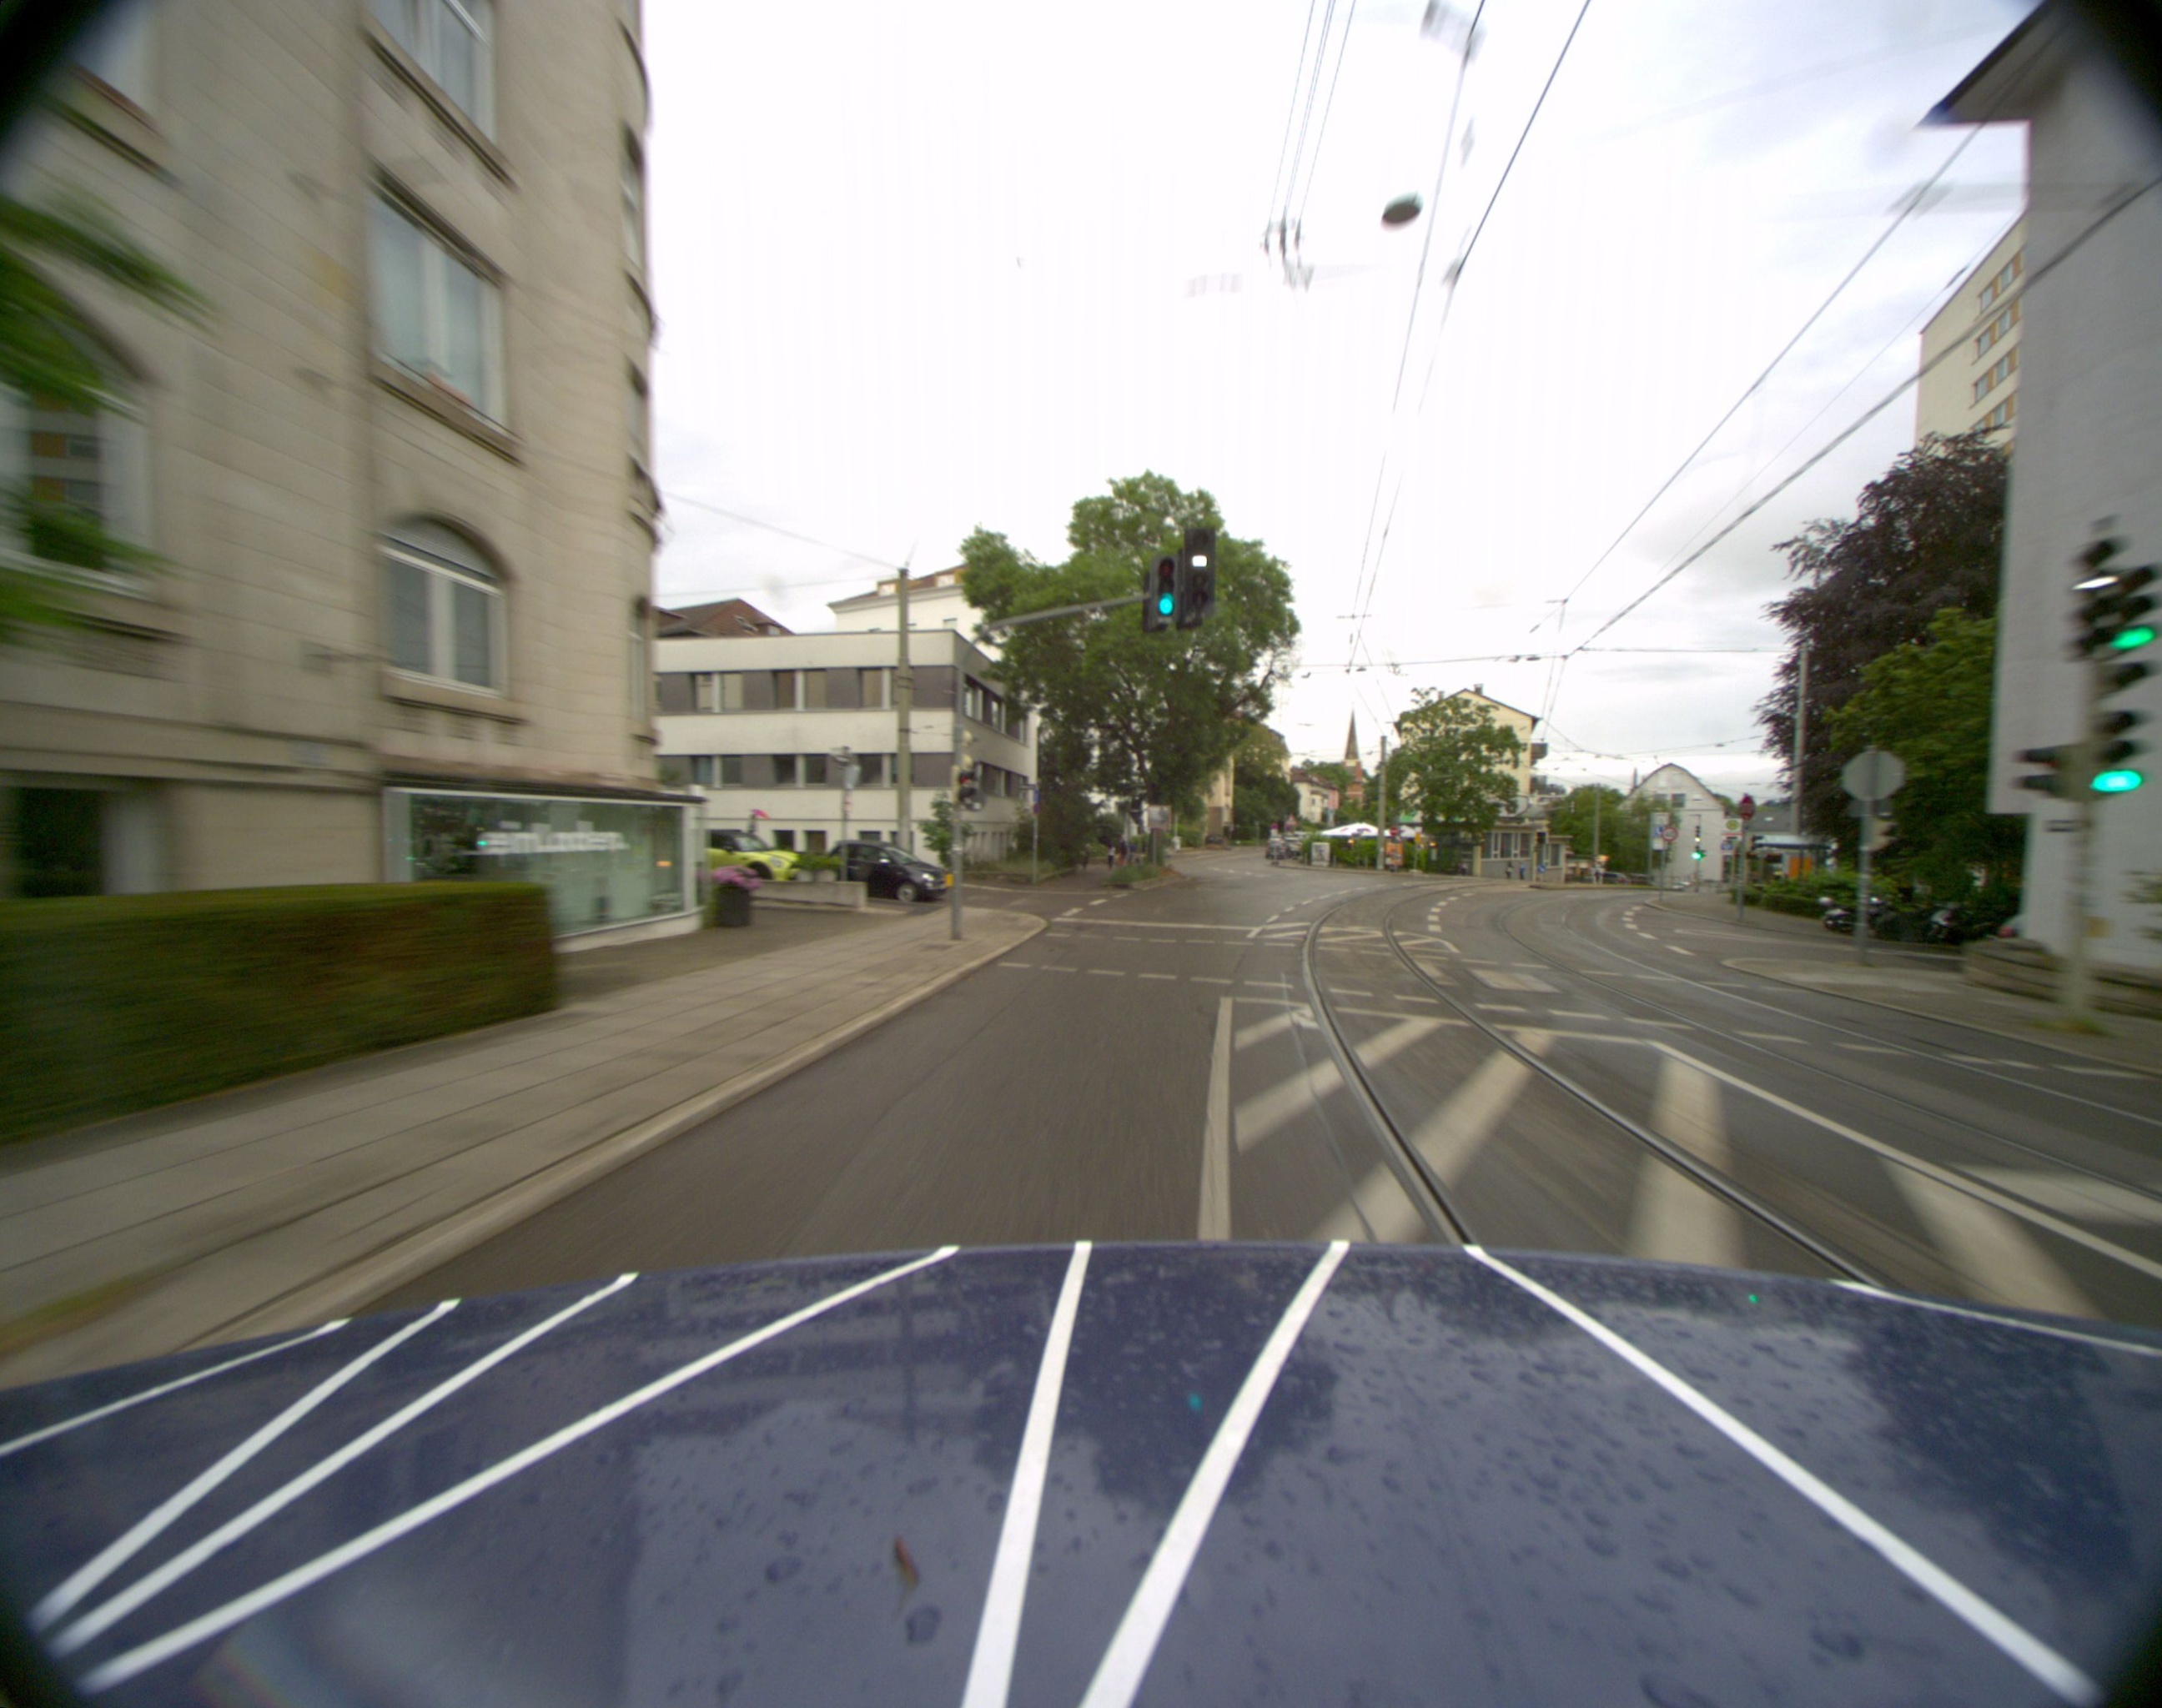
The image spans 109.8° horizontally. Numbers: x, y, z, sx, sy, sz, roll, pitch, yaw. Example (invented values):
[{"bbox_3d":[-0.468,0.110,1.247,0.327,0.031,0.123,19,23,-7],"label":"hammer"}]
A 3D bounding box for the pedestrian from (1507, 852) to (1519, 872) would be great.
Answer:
[{"bbox_3d":[33.639,0.623,59.148,0.560,1.545,0.545,3,3,-39],"label":"pedestrian"}]

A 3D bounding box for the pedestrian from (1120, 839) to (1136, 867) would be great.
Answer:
[{"bbox_3d":[2.628,-0.075,42.689,0.600,1.556,0.547,2,-1,43],"label":"pedestrian"}]

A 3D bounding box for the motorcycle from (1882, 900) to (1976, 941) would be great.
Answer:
[{"bbox_3d":[24.504,1.912,21.979,2.122,1.042,0.485,3,-1,1],"label":"motorcycle"}]

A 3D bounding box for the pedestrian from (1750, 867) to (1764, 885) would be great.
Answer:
[{"bbox_3d":[60.777,1.962,68.301,0.773,1.539,0.671,4,1,-38],"label":"pedestrian"}]

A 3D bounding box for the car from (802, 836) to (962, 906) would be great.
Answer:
[{"bbox_3d":[-5.308,0.410,20.455,3.664,1.499,1.739,4,2,11],"label":"car"}]

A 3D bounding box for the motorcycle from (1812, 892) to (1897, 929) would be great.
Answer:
[{"bbox_3d":[24.654,1.797,24.236,2.122,1.042,0.485,3,1,1],"label":"motorcycle"}]

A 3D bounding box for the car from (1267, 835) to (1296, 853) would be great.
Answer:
[{"bbox_3d":[17.050,-0.821,64.524,1.689,1.434,3.810,4,2,25],"label":"car"}]

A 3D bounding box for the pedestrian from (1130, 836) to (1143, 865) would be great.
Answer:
[{"bbox_3d":[3.250,-0.204,44.822,0.544,1.620,0.603,2,-1,20],"label":"pedestrian"}]

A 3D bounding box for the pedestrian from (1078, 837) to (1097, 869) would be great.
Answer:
[{"bbox_3d":[0.363,-0.066,42.108,0.744,1.690,0.674,6,0,15],"label":"pedestrian"}]

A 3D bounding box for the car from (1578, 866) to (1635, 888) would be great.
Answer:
[{"bbox_3d":[53.696,2.375,77.748,1.784,1.665,4.328,5,2,-35],"label":"car"}]

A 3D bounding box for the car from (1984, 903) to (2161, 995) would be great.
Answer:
[{"bbox_3d":[19.690,1.770,13.670,4.246,1.446,1.857,3,-1,8],"label":"car"}]

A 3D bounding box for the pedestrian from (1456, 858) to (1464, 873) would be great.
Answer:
[{"bbox_3d":[27.512,0.840,55.178,0.318,0.989,0.324,3,4,-41],"label":"pedestrian"}]

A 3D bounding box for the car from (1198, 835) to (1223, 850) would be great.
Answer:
[{"bbox_3d":[14.111,-1.231,82.547,1.595,1.333,3.643,2,-1,28],"label":"car"}]

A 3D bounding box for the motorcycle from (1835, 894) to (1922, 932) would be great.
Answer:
[{"bbox_3d":[24.595,1.825,23.451,2.122,1.042,0.485,3,-1,1],"label":"motorcycle"}]

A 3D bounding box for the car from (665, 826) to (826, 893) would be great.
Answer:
[{"bbox_3d":[-9.215,0.124,20.985,3.664,1.499,1.739,4,2,11],"label":"car"}]

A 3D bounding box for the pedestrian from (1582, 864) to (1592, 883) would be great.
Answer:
[{"bbox_3d":[46.183,1.767,69.319,0.615,1.703,0.579,3,-1,-41],"label":"pedestrian"}]

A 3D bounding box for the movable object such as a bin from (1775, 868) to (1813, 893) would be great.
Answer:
[{"bbox_3d":[33.631,1.242,35.827,1.346,1.131,1.021,3,-1,-35],"label":"movable object such as a bin"}]

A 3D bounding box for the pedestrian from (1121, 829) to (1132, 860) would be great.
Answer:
[{"bbox_3d":[2.895,-0.611,48.372,0.542,1.913,0.917,3,3,7],"label":"pedestrian"}]

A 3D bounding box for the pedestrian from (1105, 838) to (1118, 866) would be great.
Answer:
[{"bbox_3d":[1.721,-0.104,42.394,0.386,1.498,0.537,0,4,-44],"label":"pedestrian"}]

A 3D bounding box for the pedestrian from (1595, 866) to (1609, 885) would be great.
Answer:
[{"bbox_3d":[48.555,1.981,70.772,0.609,1.704,0.719,4,2,-28],"label":"pedestrian"}]

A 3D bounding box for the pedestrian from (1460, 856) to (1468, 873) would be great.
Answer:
[{"bbox_3d":[27.868,0.769,55.272,0.318,1.144,0.324,3,4,-41],"label":"pedestrian"}]

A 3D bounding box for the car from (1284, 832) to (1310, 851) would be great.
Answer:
[{"bbox_3d":[20.093,-1.146,70.674,1.689,1.680,3.810,4,2,25],"label":"car"}]

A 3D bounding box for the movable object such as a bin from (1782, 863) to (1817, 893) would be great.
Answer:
[{"bbox_3d":[36.431,1.204,38.524,1.430,1.425,1.021,3,-1,-35],"label":"movable object such as a bin"}]

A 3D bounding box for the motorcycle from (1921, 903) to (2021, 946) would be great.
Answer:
[{"bbox_3d":[24.519,1.937,20.946,2.122,1.042,0.485,3,-1,1],"label":"motorcycle"}]

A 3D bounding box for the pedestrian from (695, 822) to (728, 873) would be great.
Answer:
[{"bbox_3d":[-12.622,-0.221,25.962,0.703,1.669,0.650,3,0,7],"label":"pedestrian"}]

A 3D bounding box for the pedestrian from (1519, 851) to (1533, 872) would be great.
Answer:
[{"bbox_3d":[34.304,0.561,58.526,0.651,1.545,0.588,3,3,-38],"label":"pedestrian"}]
